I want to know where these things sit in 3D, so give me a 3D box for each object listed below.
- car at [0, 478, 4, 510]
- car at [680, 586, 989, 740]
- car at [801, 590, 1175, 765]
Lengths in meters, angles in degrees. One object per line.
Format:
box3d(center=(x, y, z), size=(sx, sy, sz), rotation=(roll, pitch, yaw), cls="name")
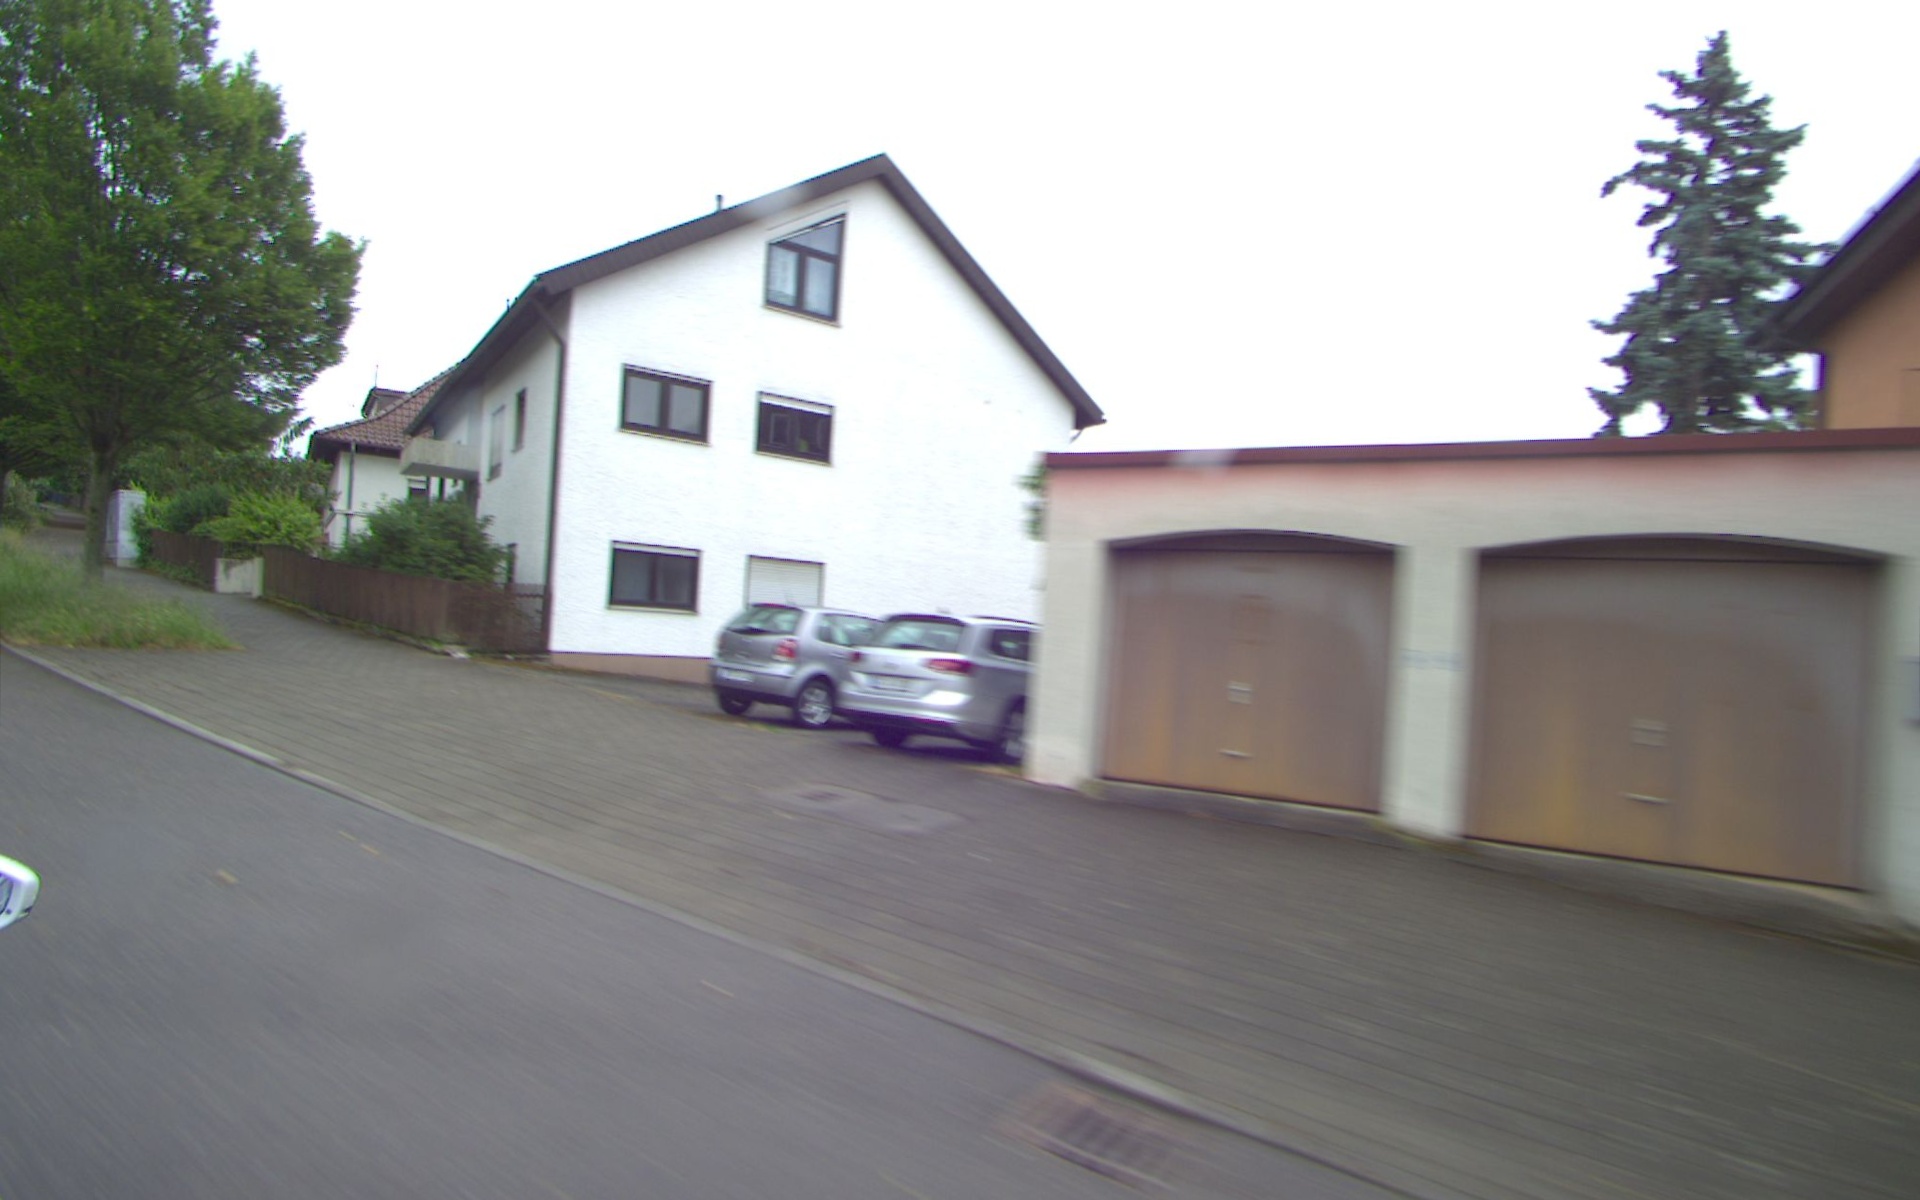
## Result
box3d(center=(-64.498, -7.140, 66.218), size=(5.054, 2.077, 1.989), rotation=(7, -1, 44), cls="car")
box3d(center=(-1.486, 0.884, 13.071), size=(1.753, 1.480, 3.684), rotation=(5, -5, 39), cls="car")
box3d(center=(0.523, 0.953, 11.221), size=(1.907, 1.480, 4.306), rotation=(4, -5, 38), cls="car")
